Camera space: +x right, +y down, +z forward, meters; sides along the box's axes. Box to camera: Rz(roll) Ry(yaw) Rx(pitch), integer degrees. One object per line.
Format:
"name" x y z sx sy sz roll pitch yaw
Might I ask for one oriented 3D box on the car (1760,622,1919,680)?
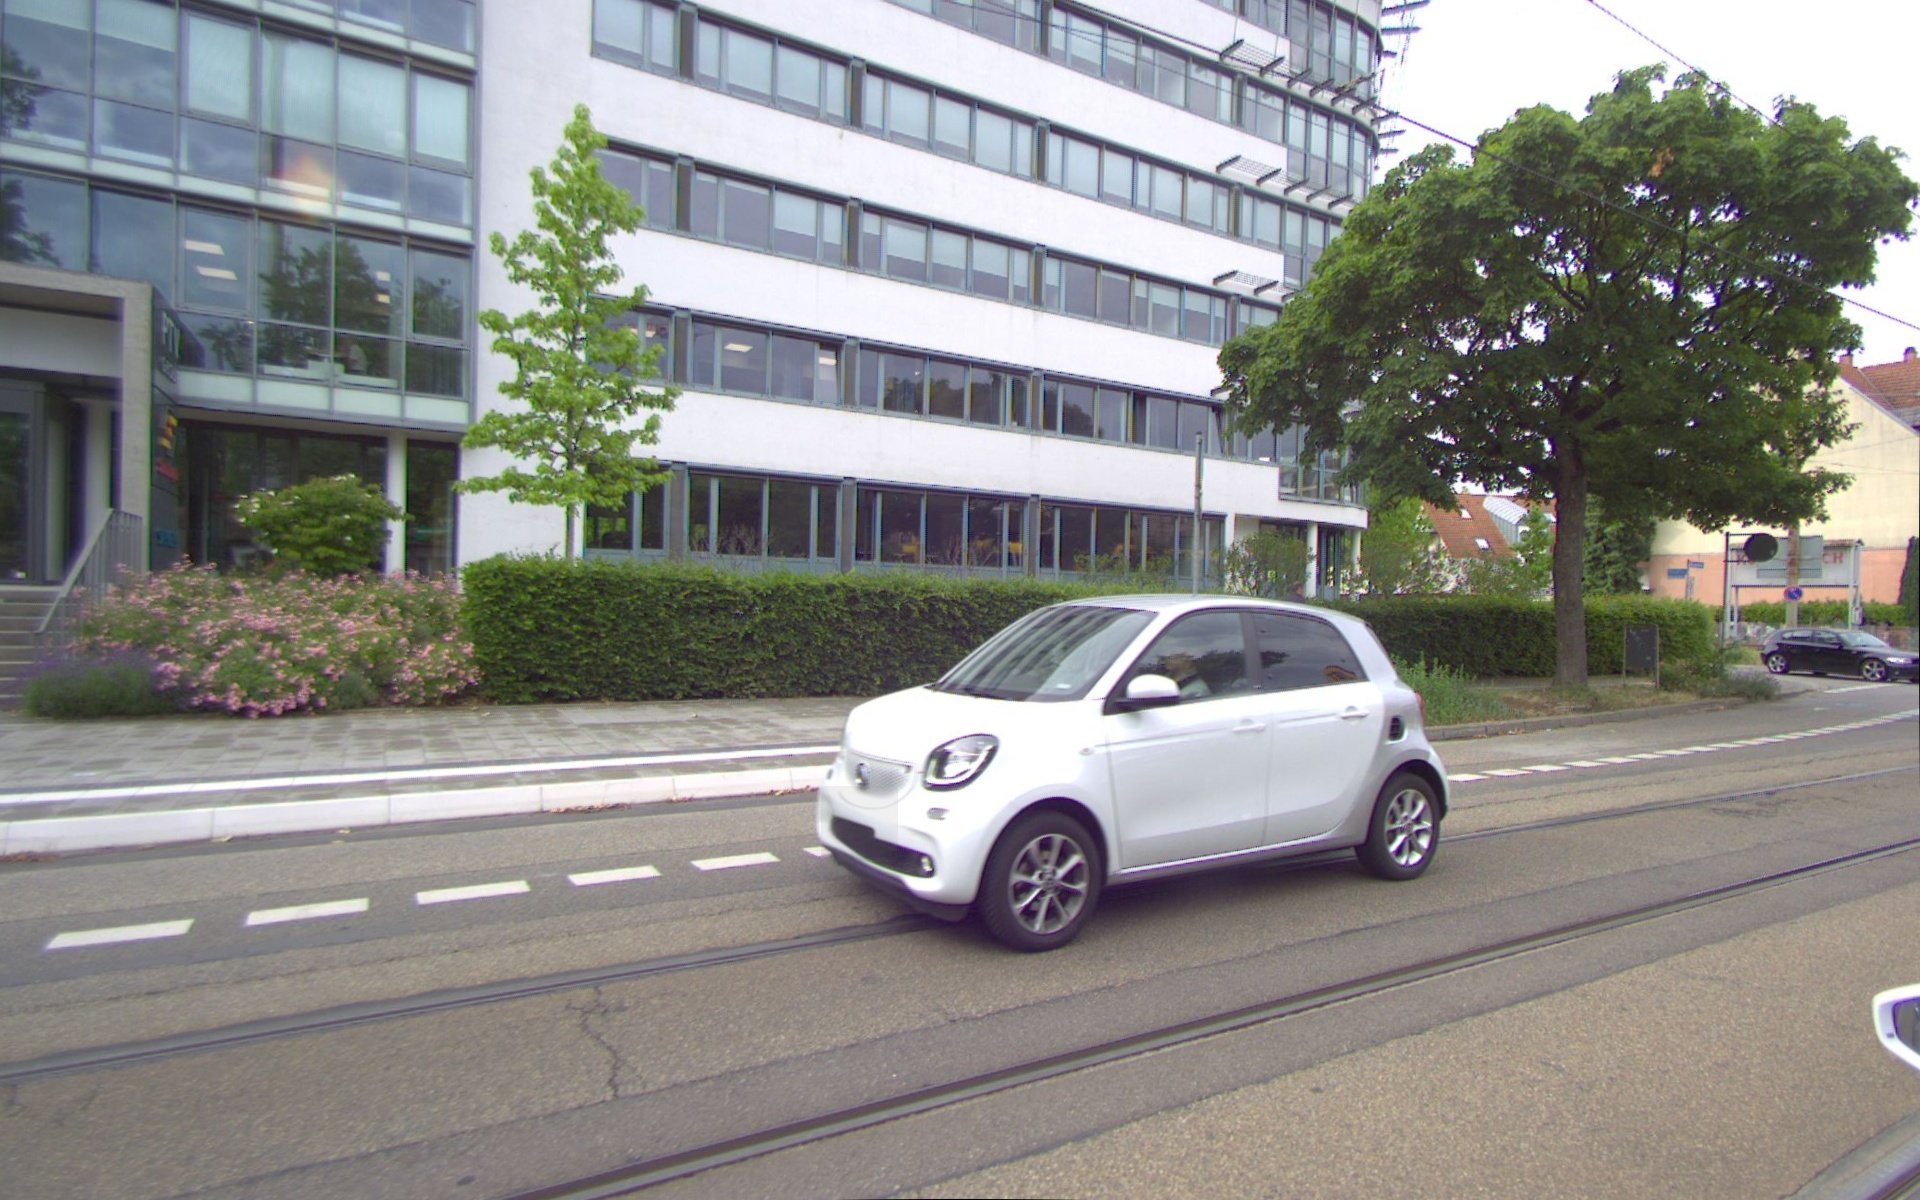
"car" 25.014 1.385 28.126 1.769 1.406 3.926 1 0 -9

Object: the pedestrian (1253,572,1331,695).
"pedestrian" 5.653 0.563 17.118 0.977 2.040 0.708 2 1 -23

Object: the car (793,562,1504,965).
"car" 1.135 0.698 5.575 3.700 1.550 1.695 2 -2 -31
